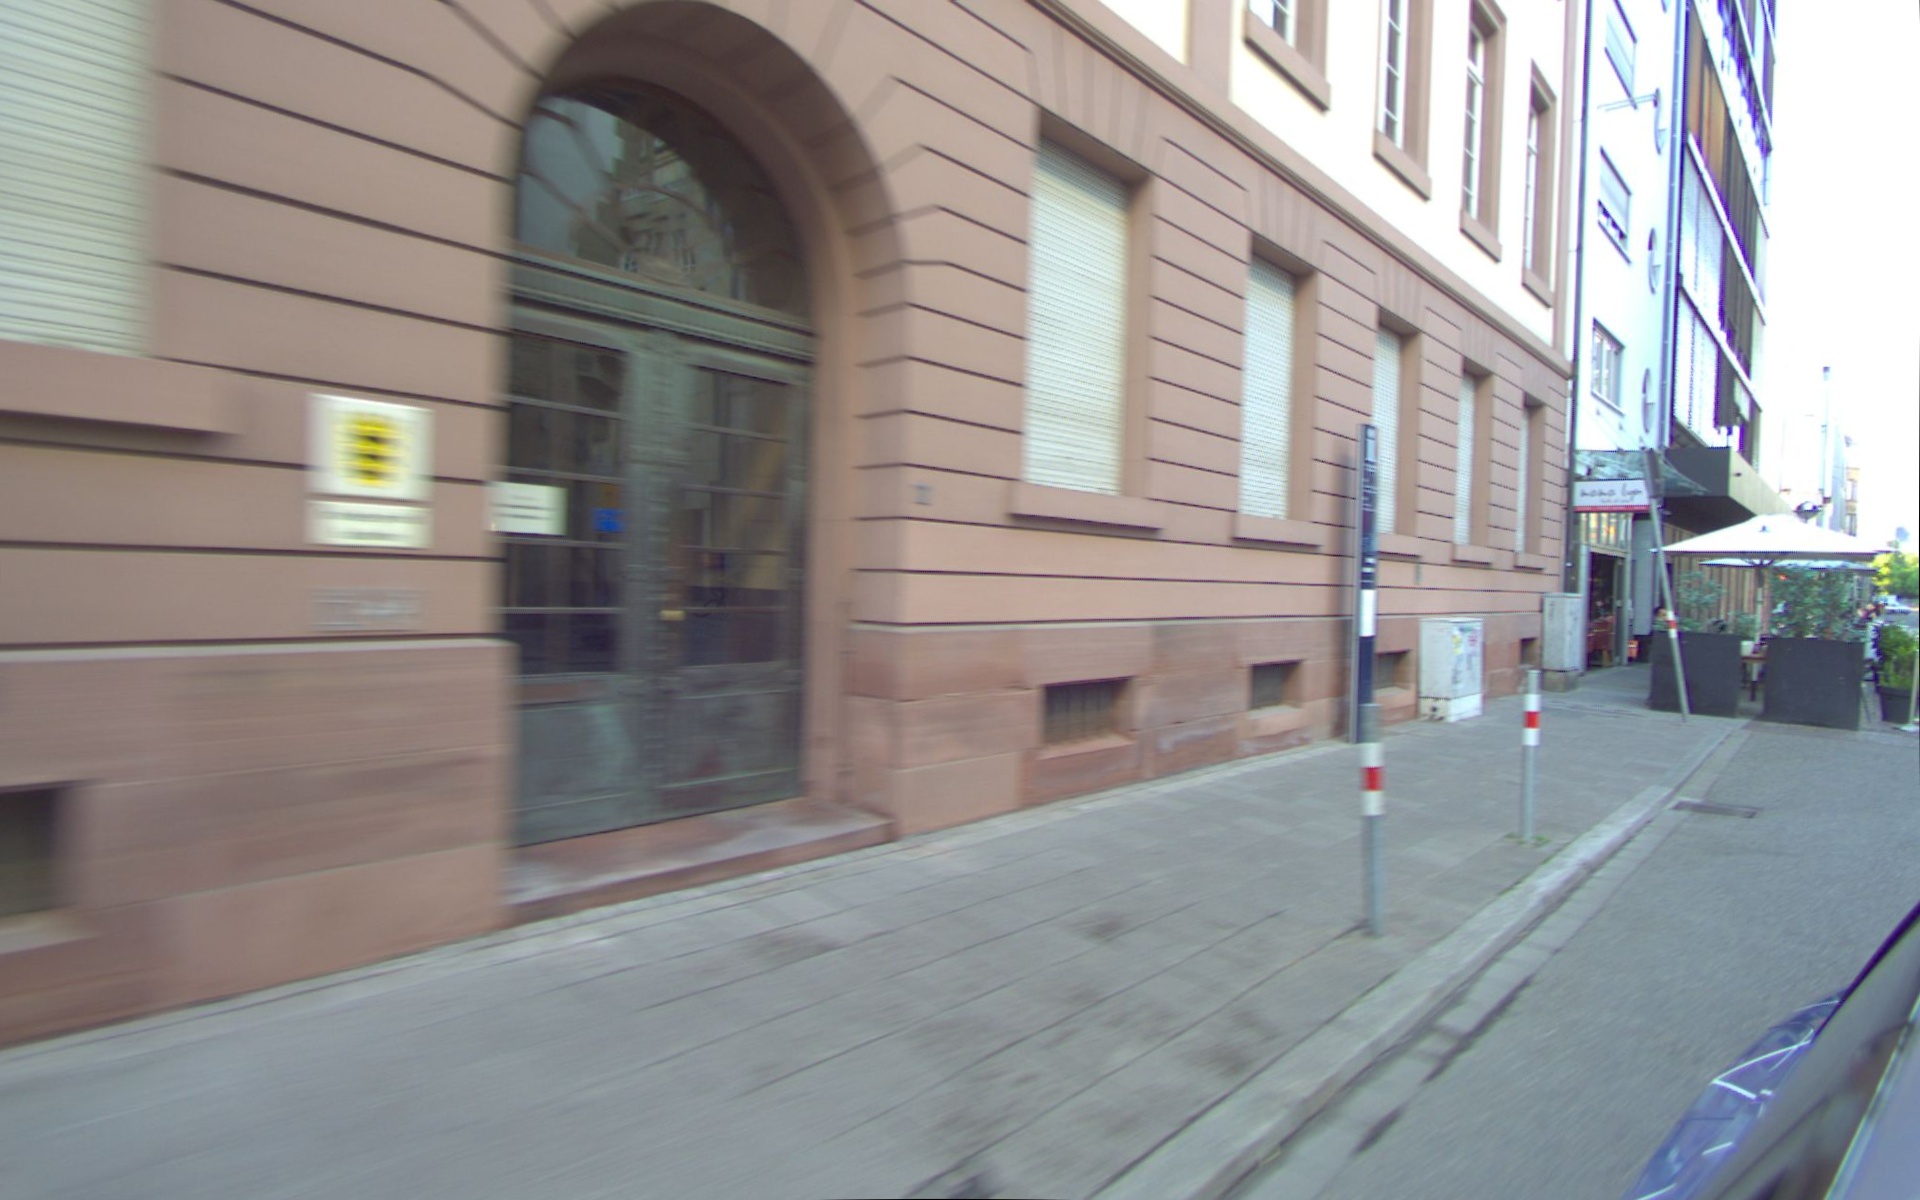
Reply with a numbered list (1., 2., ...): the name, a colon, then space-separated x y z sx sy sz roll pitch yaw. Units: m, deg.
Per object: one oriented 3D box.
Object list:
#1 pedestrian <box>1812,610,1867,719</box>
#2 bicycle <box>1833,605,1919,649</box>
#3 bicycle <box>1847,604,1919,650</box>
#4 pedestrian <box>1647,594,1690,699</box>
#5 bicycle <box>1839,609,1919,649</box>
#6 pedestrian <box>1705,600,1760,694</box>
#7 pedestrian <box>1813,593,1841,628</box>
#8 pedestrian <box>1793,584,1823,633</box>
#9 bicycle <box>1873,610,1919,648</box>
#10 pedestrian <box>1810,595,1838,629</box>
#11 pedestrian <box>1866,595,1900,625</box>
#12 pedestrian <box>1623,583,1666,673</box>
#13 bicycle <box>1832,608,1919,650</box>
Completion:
1. pedestrian: 10.302 0.741 11.862 0.398 1.228 0.378 2 1 34
2. bicycle: 28.372 0.817 31.269 2.033 1.182 0.609 4 3 43
3. bicycle: 27.485 0.806 29.749 2.034 1.181 0.655 7 4 43
4. pedestrian: 9.175 0.589 13.109 0.359 1.322 0.490 2 1 29
5. bicycle: 30.830 0.958 33.897 2.033 1.182 0.609 4 2 43
6. pedestrian: 12.427 0.731 16.282 0.574 1.437 0.854 2 1 44
7. pedestrian: 42.552 0.520 49.680 0.623 1.641 0.784 1 2 -6
8. pedestrian: 33.337 0.323 39.792 0.664 1.859 0.802 1 1 -45
9. bicycle: 32.145 0.989 34.100 2.033 1.231 0.609 3 2 43
10. pedestrian: 43.144 0.588 50.554 0.749 1.658 0.670 1 2 -10
11. pedestrian: 51.370 0.566 56.331 0.974 1.592 0.920 1 1 -3
12. pedestrian: 14.180 0.567 20.961 0.637 1.794 0.594 2 1 38
13. bicycle: 28.984 0.894 32.034 2.033 1.182 0.609 3 2 43
